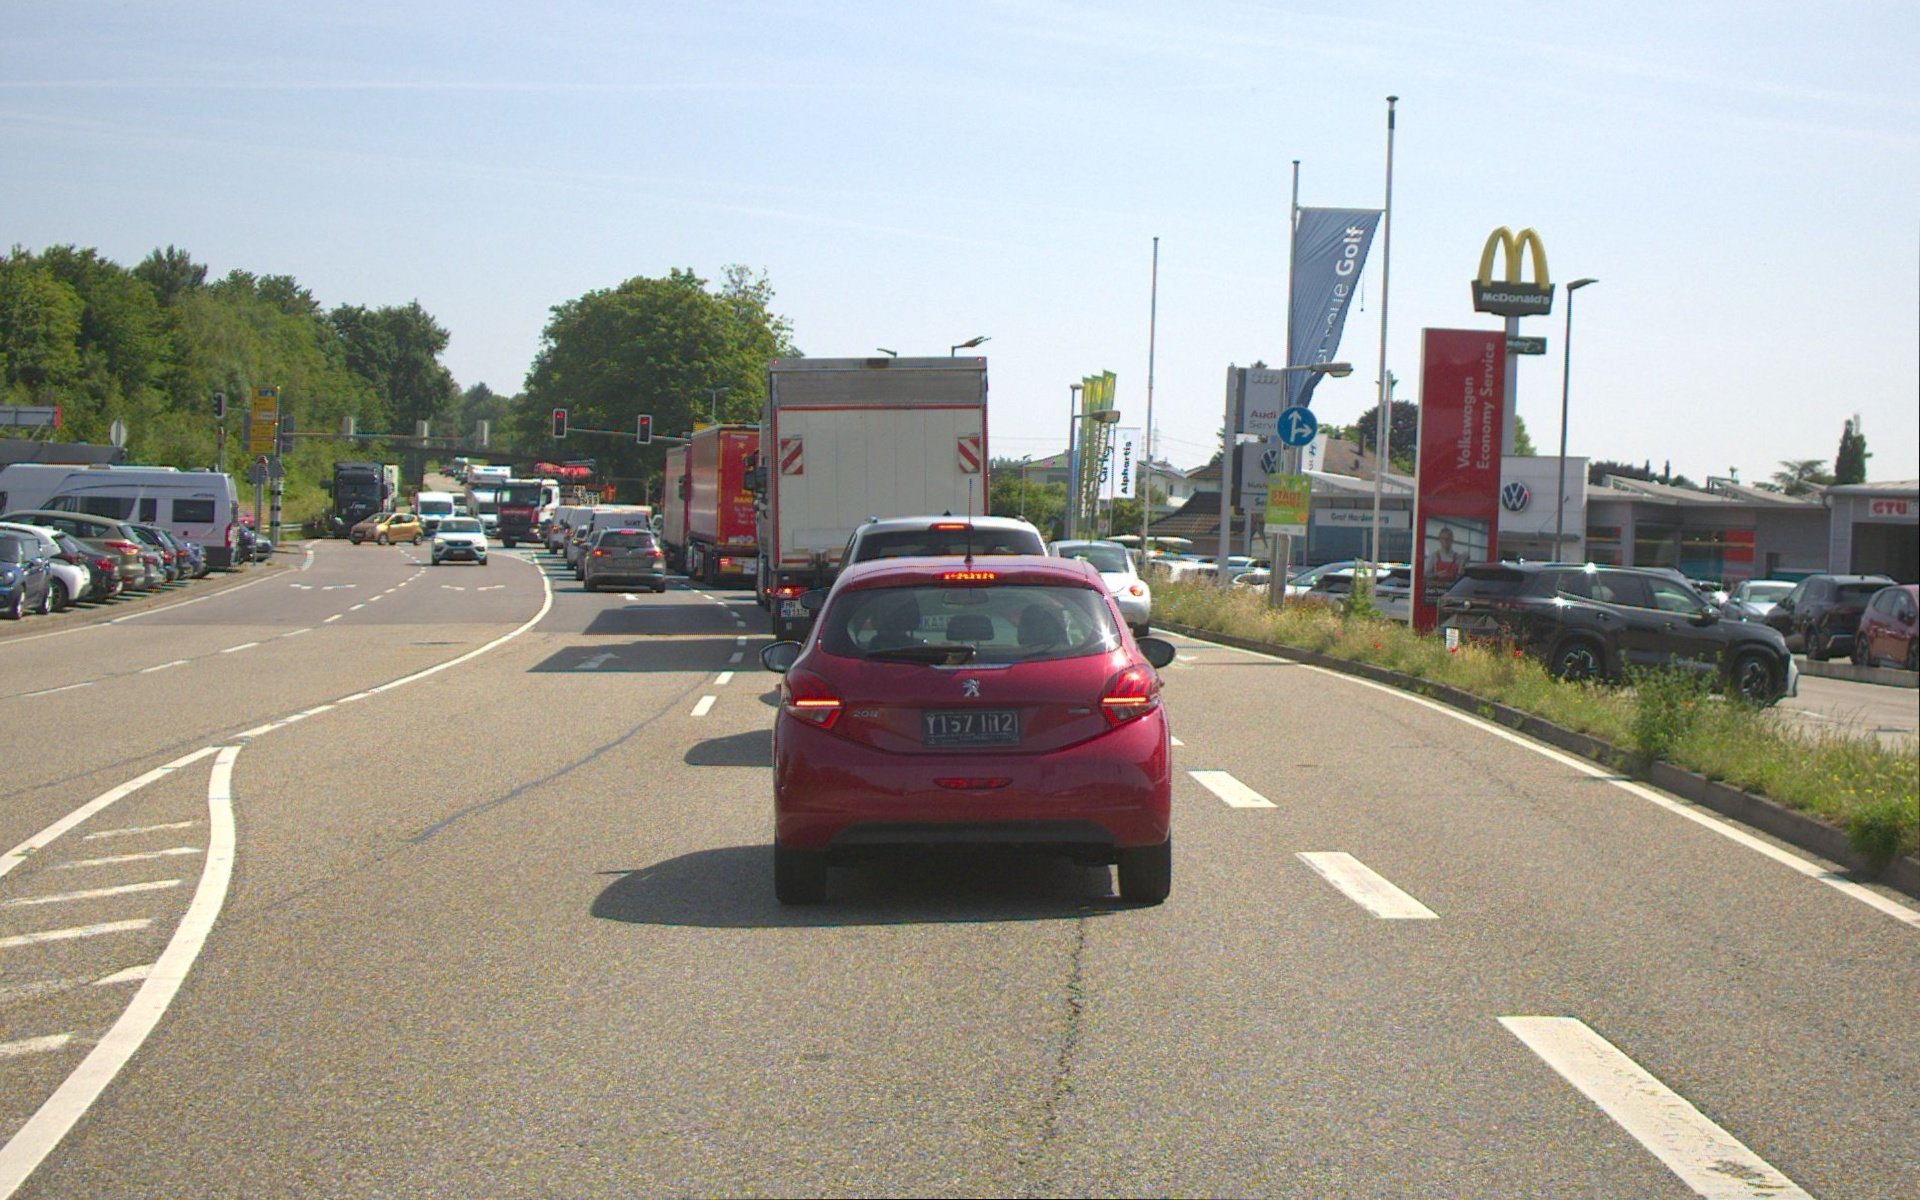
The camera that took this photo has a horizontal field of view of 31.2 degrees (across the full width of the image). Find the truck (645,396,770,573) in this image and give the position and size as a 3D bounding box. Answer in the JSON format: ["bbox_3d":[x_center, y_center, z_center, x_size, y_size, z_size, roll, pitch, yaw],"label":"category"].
[{"bbox_3d":[-8.360,-3.704,111.670,3.062,5.202,17.012,2,1,-7],"label":"truck"}]

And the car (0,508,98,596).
[{"bbox_3d":[-17.585,-0.893,61.918,3.795,1.520,1.847,1,1,-8],"label":"car"}]

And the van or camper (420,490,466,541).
[{"bbox_3d":[-26.523,-4.359,176.451,2.173,2.542,4.172,2,1,-8],"label":"van or camper"}]

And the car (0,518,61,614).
[{"bbox_3d":[-16.582,-0.631,58.386,1.779,1.489,3.782,5,1,-5],"label":"car"}]

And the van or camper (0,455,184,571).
[{"bbox_3d":[-23.387,-2.307,89.624,5.890,2.863,2.290,1,2,-7],"label":"van or camper"}]

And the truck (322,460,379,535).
[{"bbox_3d":[-31.630,-5.315,178.200,2.812,3.773,6.992,0,2,-11],"label":"truck"}]

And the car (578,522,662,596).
[{"bbox_3d":[-7.773,-0.953,78.894,1.790,1.633,3.504,1,1,-4],"label":"car"}]

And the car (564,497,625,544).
[{"bbox_3d":[-12.211,-2.649,115.034,1.726,1.514,3.312,2,1,-2],"label":"car"}]

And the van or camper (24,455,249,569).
[{"bbox_3d":[-20.887,-2.230,87.359,5.244,2.722,2.211,1,1,-5],"label":"van or camper"}]

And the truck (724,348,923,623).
[{"bbox_3d":[-2.713,-1.990,62.245,2.890,4.251,16.713,1,1,-4],"label":"truck"}]

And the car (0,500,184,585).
[{"bbox_3d":[-19.191,-1.276,74.405,4.457,1.479,1.772,5,1,-8],"label":"car"}]

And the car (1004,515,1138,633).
[{"bbox_3d":[1.749,-0.424,54.499,1.993,1.744,4.000,2,1,1],"label":"car"}]

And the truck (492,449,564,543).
[{"bbox_3d":[-20.010,-4.826,159.627,2.956,4.194,10.649,-1,2,-6],"label":"truck"}]

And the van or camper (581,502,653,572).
[{"bbox_3d":[-9.715,-1.800,97.171,1.852,1.899,3.786,2,1,-8],"label":"van or camper"}]

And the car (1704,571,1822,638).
[{"bbox_3d":[17.785,0.088,76.290,1.558,1.404,3.596,0,1,-4],"label":"car"}]

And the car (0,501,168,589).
[{"bbox_3d":[-18.381,-1.156,69.726,4.276,1.479,1.837,5,1,-8],"label":"car"}]

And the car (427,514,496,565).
[{"bbox_3d":[-16.558,-2.023,114.355,1.935,1.668,4.001,0,1,-4],"label":"car"}]

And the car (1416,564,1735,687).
[{"bbox_3d":[7.433,0.280,41.481,3.583,1.404,1.564,-1,1,-27],"label":"car"}]

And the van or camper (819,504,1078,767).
[{"bbox_3d":[-0.173,0.195,26.422,1.746,1.781,5.134,2,1,-2],"label":"van or camper"}]

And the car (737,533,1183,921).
[{"bbox_3d":[-0.016,0.477,15.765,1.801,1.566,3.714,0,1,-1],"label":"car"}]

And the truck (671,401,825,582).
[{"bbox_3d":[-5.794,-2.851,90.972,2.956,4.255,16.589,2,1,-7],"label":"truck"}]

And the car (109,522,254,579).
[{"bbox_3d":[-22.014,-1.414,97.312,3.816,1.534,1.843,1,1,-7],"label":"car"}]

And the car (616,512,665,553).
[{"bbox_3d":[-12.443,-2.619,133.727,1.726,1.514,3.313,2,1,-7],"label":"car"}]

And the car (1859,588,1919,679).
[{"bbox_3d":[16.135,0.542,56.534,1.558,1.404,3.596,0,1,-4],"label":"car"}]

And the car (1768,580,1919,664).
[{"bbox_3d":[15.785,0.375,61.562,1.558,1.404,3.596,0,1,-4],"label":"car"}]

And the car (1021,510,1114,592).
[{"bbox_3d":[2.411,-1.096,77.660,1.993,1.744,4.000,2,1,1],"label":"car"}]

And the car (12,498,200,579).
[{"bbox_3d":[-19.193,-1.393,77.365,3.843,1.479,1.802,5,1,-8],"label":"car"}]

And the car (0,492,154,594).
[{"bbox_3d":[-17.786,-1.152,66.737,3.885,1.710,1.807,5,1,-8],"label":"car"}]

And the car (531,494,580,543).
[{"bbox_3d":[-16.162,-3.243,137.521,1.726,1.902,3.313,2,1,-4],"label":"car"}]

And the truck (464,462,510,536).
[{"bbox_3d":[-27.828,-5.931,202.348,2.552,4.292,7.598,0,2,-7],"label":"truck"}]

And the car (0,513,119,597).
[{"bbox_3d":[-17.663,-0.853,64.077,3.706,1.520,1.793,0,2,-8],"label":"car"}]

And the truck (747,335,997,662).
[{"bbox_3d":[-1.381,-1.329,46.180,2.879,3.798,11.144,1,1,-4],"label":"truck"}]

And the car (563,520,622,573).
[{"bbox_3d":[-11.207,-1.629,104.900,1.726,1.514,3.313,2,1,-6],"label":"car"}]
